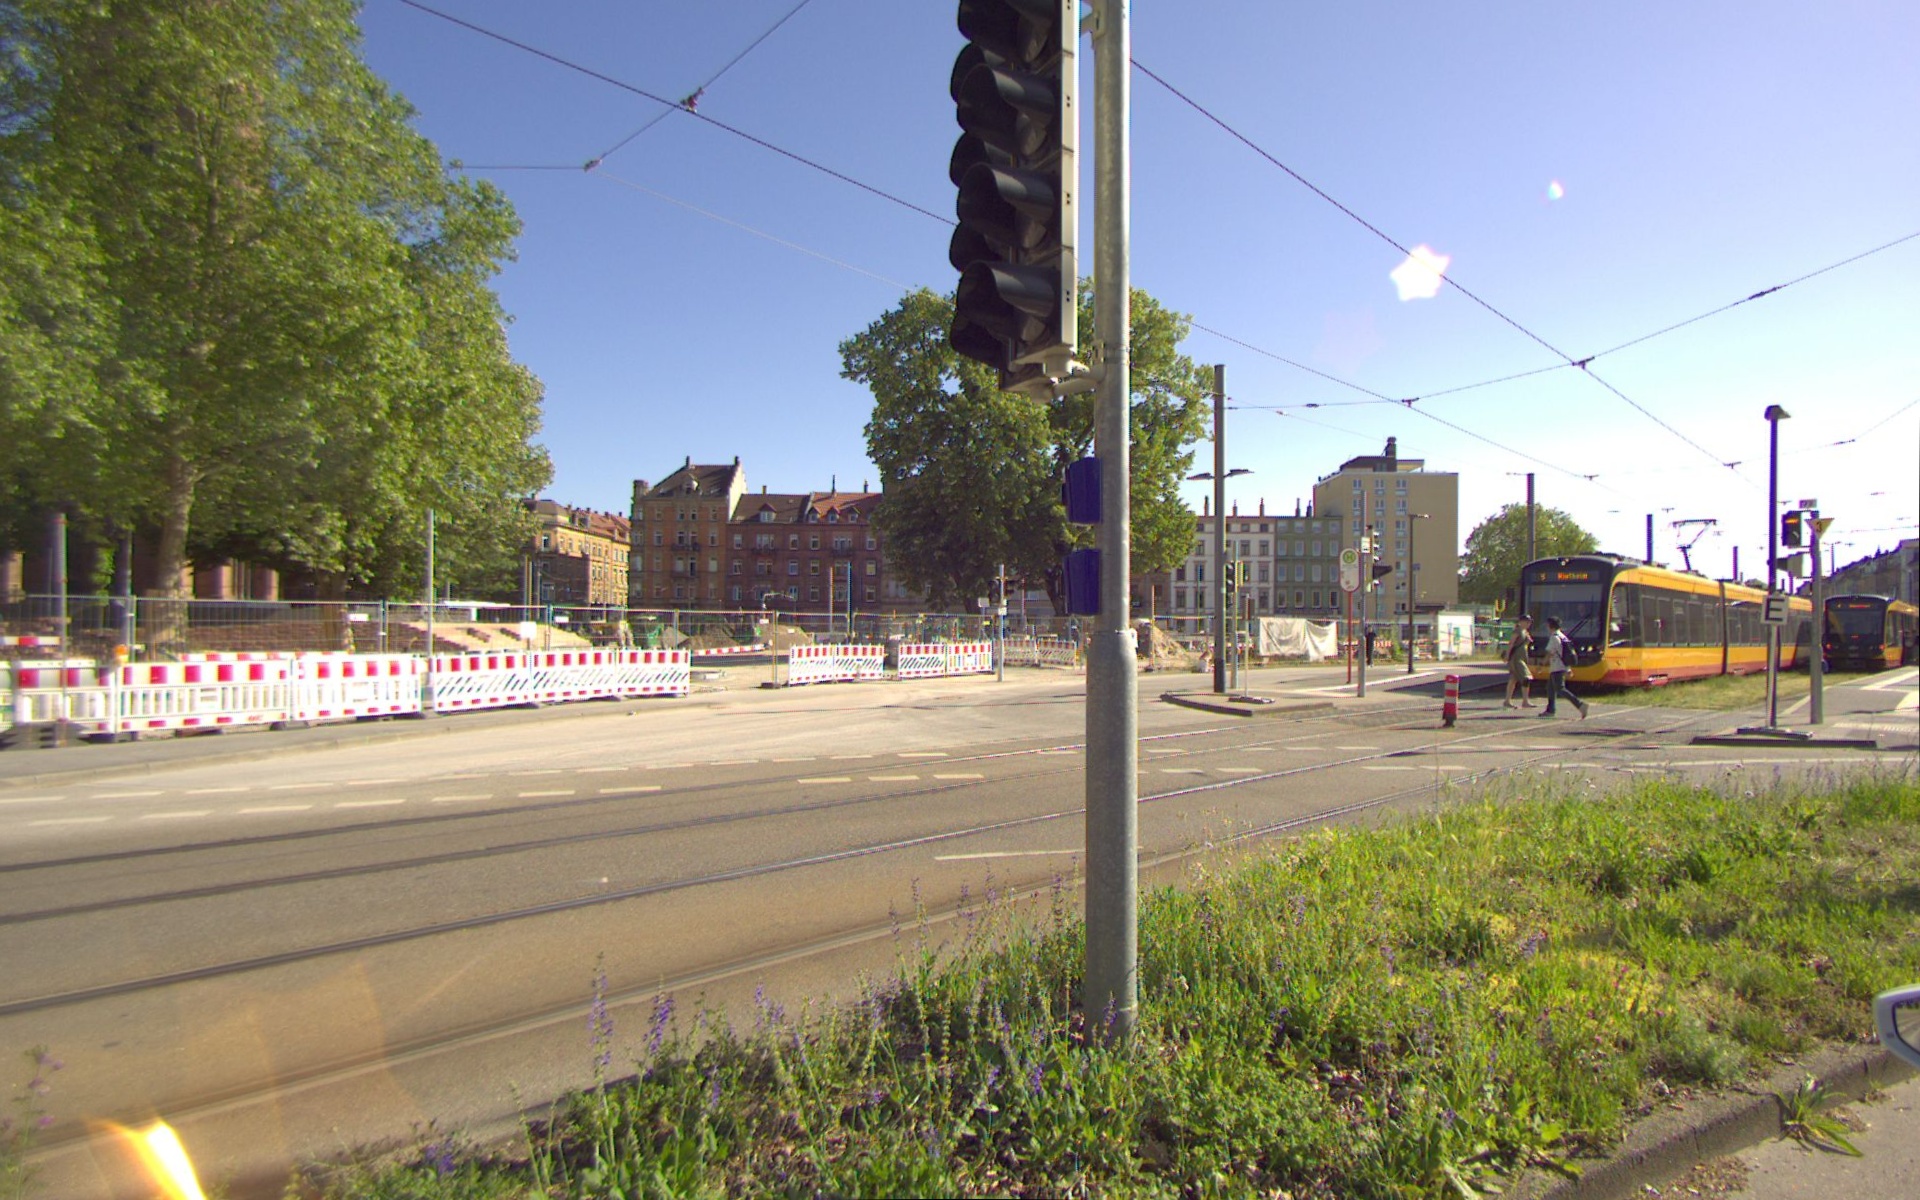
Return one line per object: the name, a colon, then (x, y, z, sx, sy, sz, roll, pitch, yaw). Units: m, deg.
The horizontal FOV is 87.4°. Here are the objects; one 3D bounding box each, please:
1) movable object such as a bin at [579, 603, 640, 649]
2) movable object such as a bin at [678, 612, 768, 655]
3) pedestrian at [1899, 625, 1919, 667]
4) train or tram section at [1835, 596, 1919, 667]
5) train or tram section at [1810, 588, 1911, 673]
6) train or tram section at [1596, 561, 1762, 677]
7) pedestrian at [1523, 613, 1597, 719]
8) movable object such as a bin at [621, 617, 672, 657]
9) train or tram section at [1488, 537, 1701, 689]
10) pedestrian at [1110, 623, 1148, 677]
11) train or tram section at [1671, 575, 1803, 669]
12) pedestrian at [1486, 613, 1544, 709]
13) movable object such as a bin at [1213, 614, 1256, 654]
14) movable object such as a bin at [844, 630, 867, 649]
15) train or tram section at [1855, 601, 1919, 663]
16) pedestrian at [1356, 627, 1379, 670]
movable object such as a bin: (-26.387, 1.925, 75.856, 3.060, 3.214, 5.244, 2, -1, -5)
movable object such as a bin: (-16.979, 2.413, 72.194, 5.968, 2.795, 1.894, 2, -1, -3)
pedestrian: (44.000, 2.124, 46.407, 0.756, 1.908, 0.838, 3, -1, -45)
train or tram section: (49.829, 1.706, 54.384, 10.472, 3.554, 2.843, 2, -2, -44)
train or tram section: (42.327, 1.439, 47.048, 10.472, 3.554, 2.843, 2, -2, -44)
train or tram section: (25.575, 0.720, 35.438, 10.537, 3.554, 2.790, 2, -1, -43)
pedestrian: (10.893, 1.170, 18.231, 0.756, 1.856, 1.006, 3, -3, -45)
movable object such as a bin: (-20.079, 2.338, 64.542, 1.857, 2.377, 4.230, 2, -1, 0)
train or tram section: (18.059, 0.466, 28.154, 10.411, 3.554, 2.789, 2, -2, -45)
pedestrian: (5.799, 1.706, 34.436, 0.859, 1.791, 0.961, 2, -2, -44)
train or tram section: (33.354, 0.970, 42.875, 11.132, 3.554, 2.790, 2, -1, -43)
pedestrian: (11.322, 1.220, 20.487, 0.888, 1.875, 0.760, -1, 1, 39)
movable object such as a bin: (20.642, 2.529, 75.700, 1.798, 2.833, 3.997, 2, -1, -5)
movable object such as a bin: (-10.049, 3.804, 96.844, 1.716, 1.702, 3.802, 0, -1, 2)
train or tram section: (57.297, 1.945, 61.624, 10.472, 3.554, 2.843, 2, -1, -44)
pedestrian: (17.285, 2.041, 42.626, 0.795, 1.791, 0.661, 2, -2, -45)
